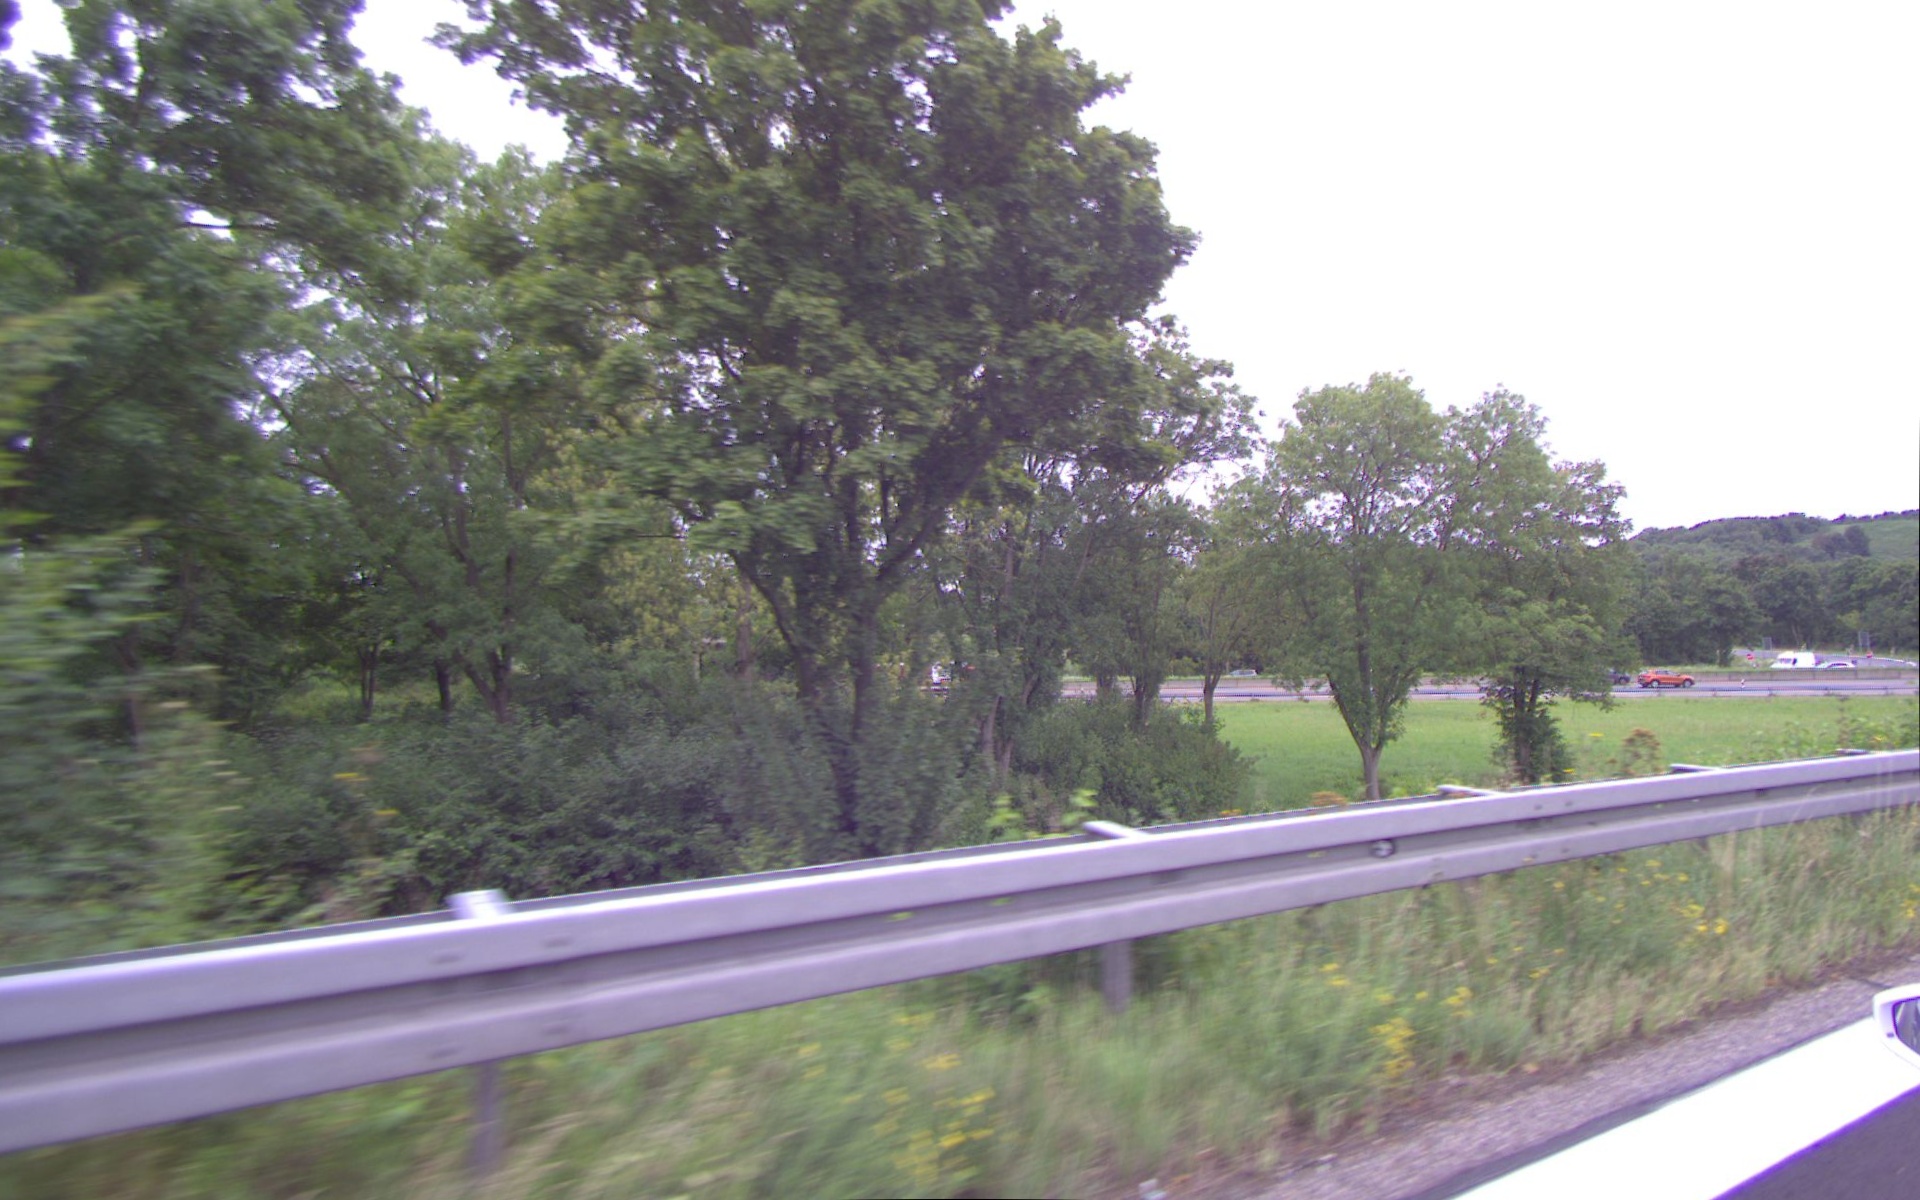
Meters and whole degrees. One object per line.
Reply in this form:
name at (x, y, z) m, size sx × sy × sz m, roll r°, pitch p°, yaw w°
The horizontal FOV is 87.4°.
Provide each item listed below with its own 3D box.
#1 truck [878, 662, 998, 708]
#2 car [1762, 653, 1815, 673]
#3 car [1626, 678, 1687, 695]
truck at (-2.092, 8.234, 97.422) m, size 11.197 × 4.058 × 2.908 m, roll -2°, pitch -2°, yaw 9°
car at (98.487, 7.451, 119.356) m, size 5.872 × 2.129 × 2.020 m, roll 0°, pitch -5°, yaw -20°
car at (61.852, 7.716, 89.297) m, size 3.919 × 1.293 × 1.934 m, roll -3°, pitch -6°, yaw 11°
